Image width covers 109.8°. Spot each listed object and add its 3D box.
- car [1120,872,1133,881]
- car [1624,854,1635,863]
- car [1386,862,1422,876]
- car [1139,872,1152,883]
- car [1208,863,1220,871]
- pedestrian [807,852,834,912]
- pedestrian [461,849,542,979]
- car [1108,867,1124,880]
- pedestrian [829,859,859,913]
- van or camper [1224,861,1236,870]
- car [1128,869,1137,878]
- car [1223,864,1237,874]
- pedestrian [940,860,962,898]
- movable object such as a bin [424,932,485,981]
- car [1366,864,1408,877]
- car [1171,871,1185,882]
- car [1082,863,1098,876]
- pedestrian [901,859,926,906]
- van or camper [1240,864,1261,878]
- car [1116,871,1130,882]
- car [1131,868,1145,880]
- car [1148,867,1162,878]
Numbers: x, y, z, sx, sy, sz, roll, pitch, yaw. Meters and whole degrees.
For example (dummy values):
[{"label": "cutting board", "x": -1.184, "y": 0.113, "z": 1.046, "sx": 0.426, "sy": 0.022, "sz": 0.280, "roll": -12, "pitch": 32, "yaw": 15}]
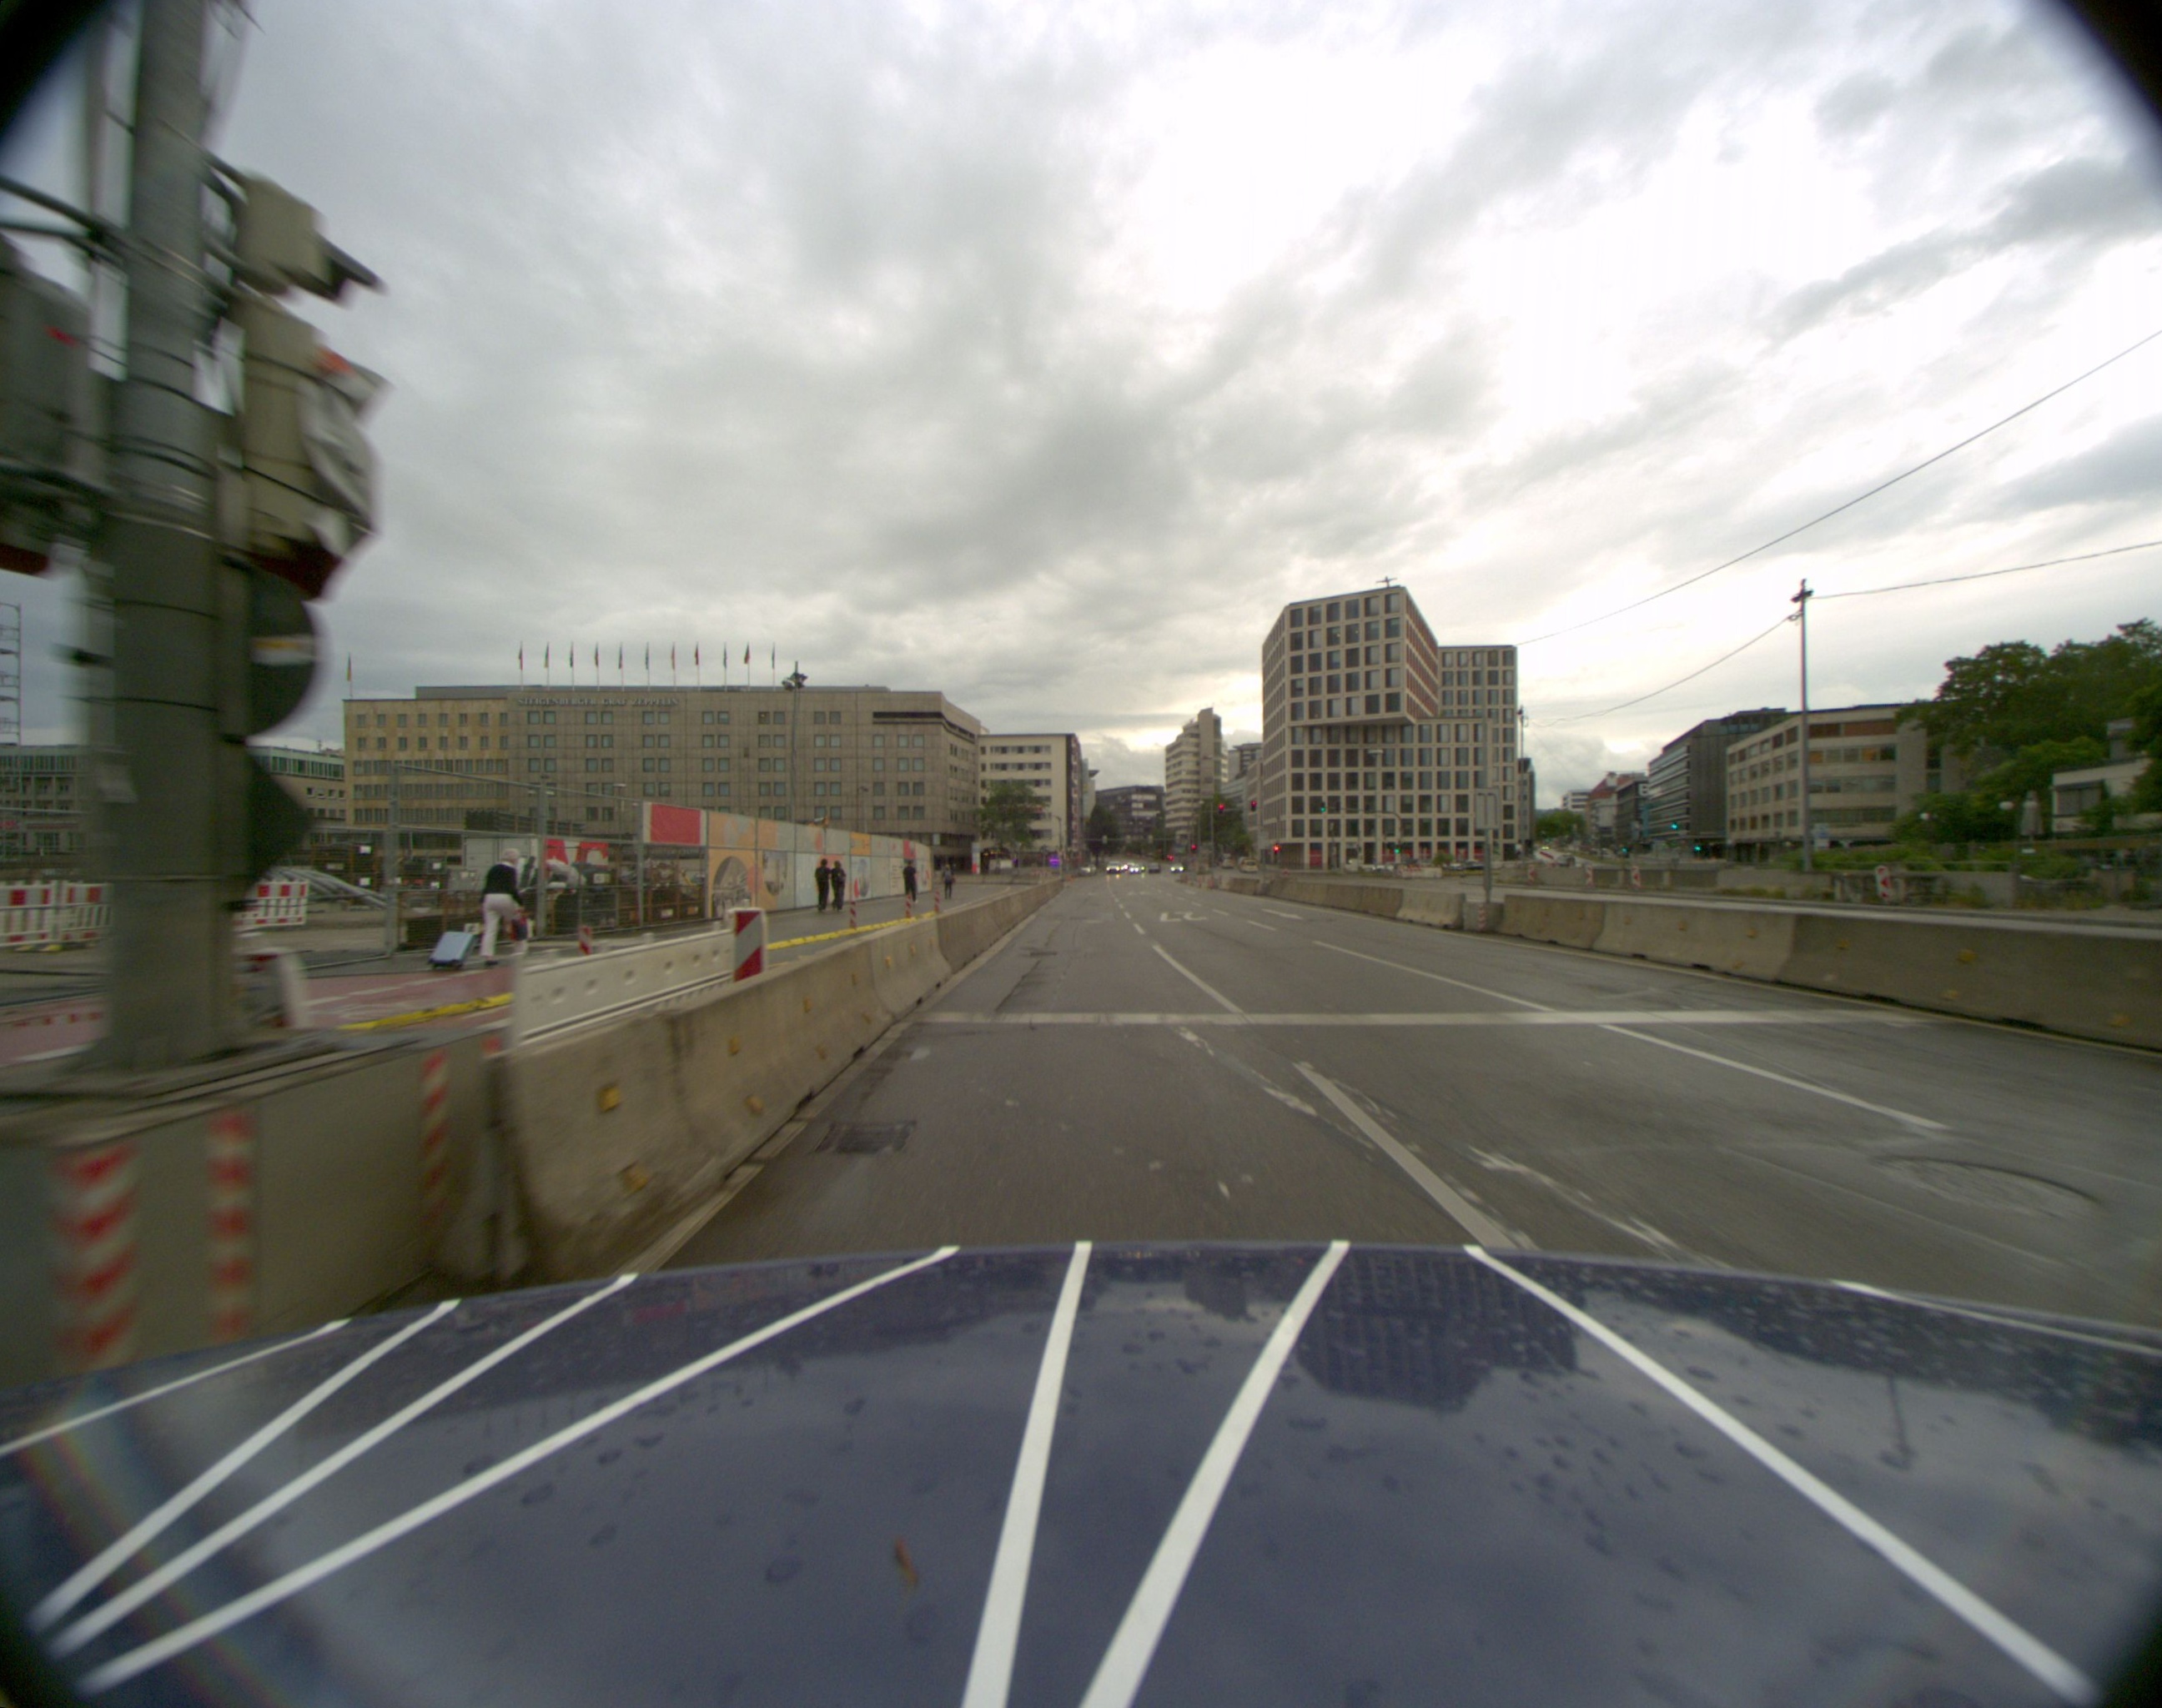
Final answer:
[{"label": "car", "x": 8.118, "y": 3.981, "z": 134.712, "sx": 2.016, "sy": 1.589, "sz": 4.665, "roll": -1, "pitch": 0, "yaw": 6}, {"label": "car", "x": 121.090, "y": 1.058, "z": 167.685, "sx": 1.994, "sy": 2.002, "sz": 4.009, "roll": -1, "pitch": 0, "yaw": 36}, {"label": "car", "x": 42.890, "y": 1.996, "z": 100.881, "sx": 3.995, "sy": 1.805, "sz": 1.806, "roll": -1, "pitch": 0, "yaw": 6}, {"label": "car", "x": 10.541, "y": 3.826, "z": 124.731, "sx": 2.016, "sy": 1.589, "sz": 4.665, "roll": -1, "pitch": 0, "yaw": 6}, {"label": "car", "x": 28.033, "y": 2.738, "z": 160.073, "sx": 1.850, "sy": 1.589, "sz": 4.181, "roll": -1, "pitch": 0, "yaw": 0}, {"label": "pedestrian", "x": -8.840, "y": 0.959, "z": 25.793, "sx": 0.681, "sy": 2.001, "sz": 0.687, "roll": 0, "pitch": -1, "yaw": 1}, {"label": "pedestrian", "x": -8.481, "y": 0.858, "z": 11.153, "sx": 0.666, "sy": 1.850, "sz": 0.683, "roll": -1, "pitch": 0, "yaw": -4}, {"label": "car", "x": 5.539, "y": 3.133, "z": 120.231, "sx": 2.084, "sy": 1.893, "sz": 5.088, "roll": -1, "pitch": 0, "yaw": 8}, {"label": "pedestrian", "x": -8.072, "y": 1.088, "z": 25.904, "sx": 0.798, "sy": 1.823, "sz": 0.626, "roll": -1, "pitch": 0, "yaw": 2}, {"label": "van or camper", "x": 32.227, "y": 2.470, "z": 164.300, "sx": 1.850, "sy": 1.967, "sz": 4.256, "roll": -1, "pitch": 0, "yaw": 0}, {"label": "car", "x": 9.923, "y": 3.707, "z": 145.216, "sx": 1.670, "sy": 1.475, "sz": 3.487, "roll": -1, "pitch": 0, "yaw": 5}, {"label": "car", "x": 27.493, "y": 2.756, "z": 140.393, "sx": 1.846, "sy": 1.663, "sz": 4.381, "roll": -1, "pitch": 0, "yaw": 2}, {"label": "pedestrian", "x": -6.411, "y": 1.234, "z": 37.577, "sx": 0.927, "sy": 1.823, "sz": 0.686, "roll": -1, "pitch": 0, "yaw": 2}, {"label": "movable object such as a bin", "x": -8.868, "y": 1.448, "z": 10.764, "sx": 0.434, "sy": 0.621, "sz": 0.534, "roll": -1, "pitch": -1, "yaw": -4}, {"label": "car", "x": 42.258, "y": 2.263, "z": 105.014, "sx": 4.809, "sy": 1.743, "sz": 2.230, "roll": -1, "pitch": 0, "yaw": 0}, {"label": "car", "x": 15.153, "y": 3.465, "z": 118.519, "sx": 2.015, "sy": 1.589, "sz": 4.667, "roll": -1, "pitch": 0, "yaw": 10}, {"label": "car", "x": 1.380, "y": 2.403, "z": 119.179, "sx": 1.921, "sy": 2.002, "sz": 4.003, "roll": -1, "pitch": 0, "yaw": 9}, {"label": "pedestrian", "x": -6.781, "y": 1.151, "z": 30.754, "sx": 0.798, "sy": 1.866, "sz": 0.820, "roll": -1, "pitch": 0, "yaw": 2}, {"label": "van or camper", "x": 25.744, "y": 2.558, "z": 115.617, "sx": 2.244, "sy": 2.042, "sz": 5.609, "roll": -1, "pitch": 0, "yaw": 4}, {"label": "car", "x": 7.029, "y": 3.779, "z": 127.440, "sx": 2.016, "sy": 1.589, "sz": 4.665, "roll": -1, "pitch": 0, "yaw": 6}, {"label": "car", "x": 8.906, "y": 3.063, "z": 118.533, "sx": 2.016, "sy": 1.728, "sz": 4.665, "roll": -1, "pitch": 0, "yaw": 6}, {"label": "car", "x": 11.515, "y": 2.937, "z": 118.512, "sx": 2.016, "sy": 1.589, "sz": 4.665, "roll": -1, "pitch": 0, "yaw": 6}]
